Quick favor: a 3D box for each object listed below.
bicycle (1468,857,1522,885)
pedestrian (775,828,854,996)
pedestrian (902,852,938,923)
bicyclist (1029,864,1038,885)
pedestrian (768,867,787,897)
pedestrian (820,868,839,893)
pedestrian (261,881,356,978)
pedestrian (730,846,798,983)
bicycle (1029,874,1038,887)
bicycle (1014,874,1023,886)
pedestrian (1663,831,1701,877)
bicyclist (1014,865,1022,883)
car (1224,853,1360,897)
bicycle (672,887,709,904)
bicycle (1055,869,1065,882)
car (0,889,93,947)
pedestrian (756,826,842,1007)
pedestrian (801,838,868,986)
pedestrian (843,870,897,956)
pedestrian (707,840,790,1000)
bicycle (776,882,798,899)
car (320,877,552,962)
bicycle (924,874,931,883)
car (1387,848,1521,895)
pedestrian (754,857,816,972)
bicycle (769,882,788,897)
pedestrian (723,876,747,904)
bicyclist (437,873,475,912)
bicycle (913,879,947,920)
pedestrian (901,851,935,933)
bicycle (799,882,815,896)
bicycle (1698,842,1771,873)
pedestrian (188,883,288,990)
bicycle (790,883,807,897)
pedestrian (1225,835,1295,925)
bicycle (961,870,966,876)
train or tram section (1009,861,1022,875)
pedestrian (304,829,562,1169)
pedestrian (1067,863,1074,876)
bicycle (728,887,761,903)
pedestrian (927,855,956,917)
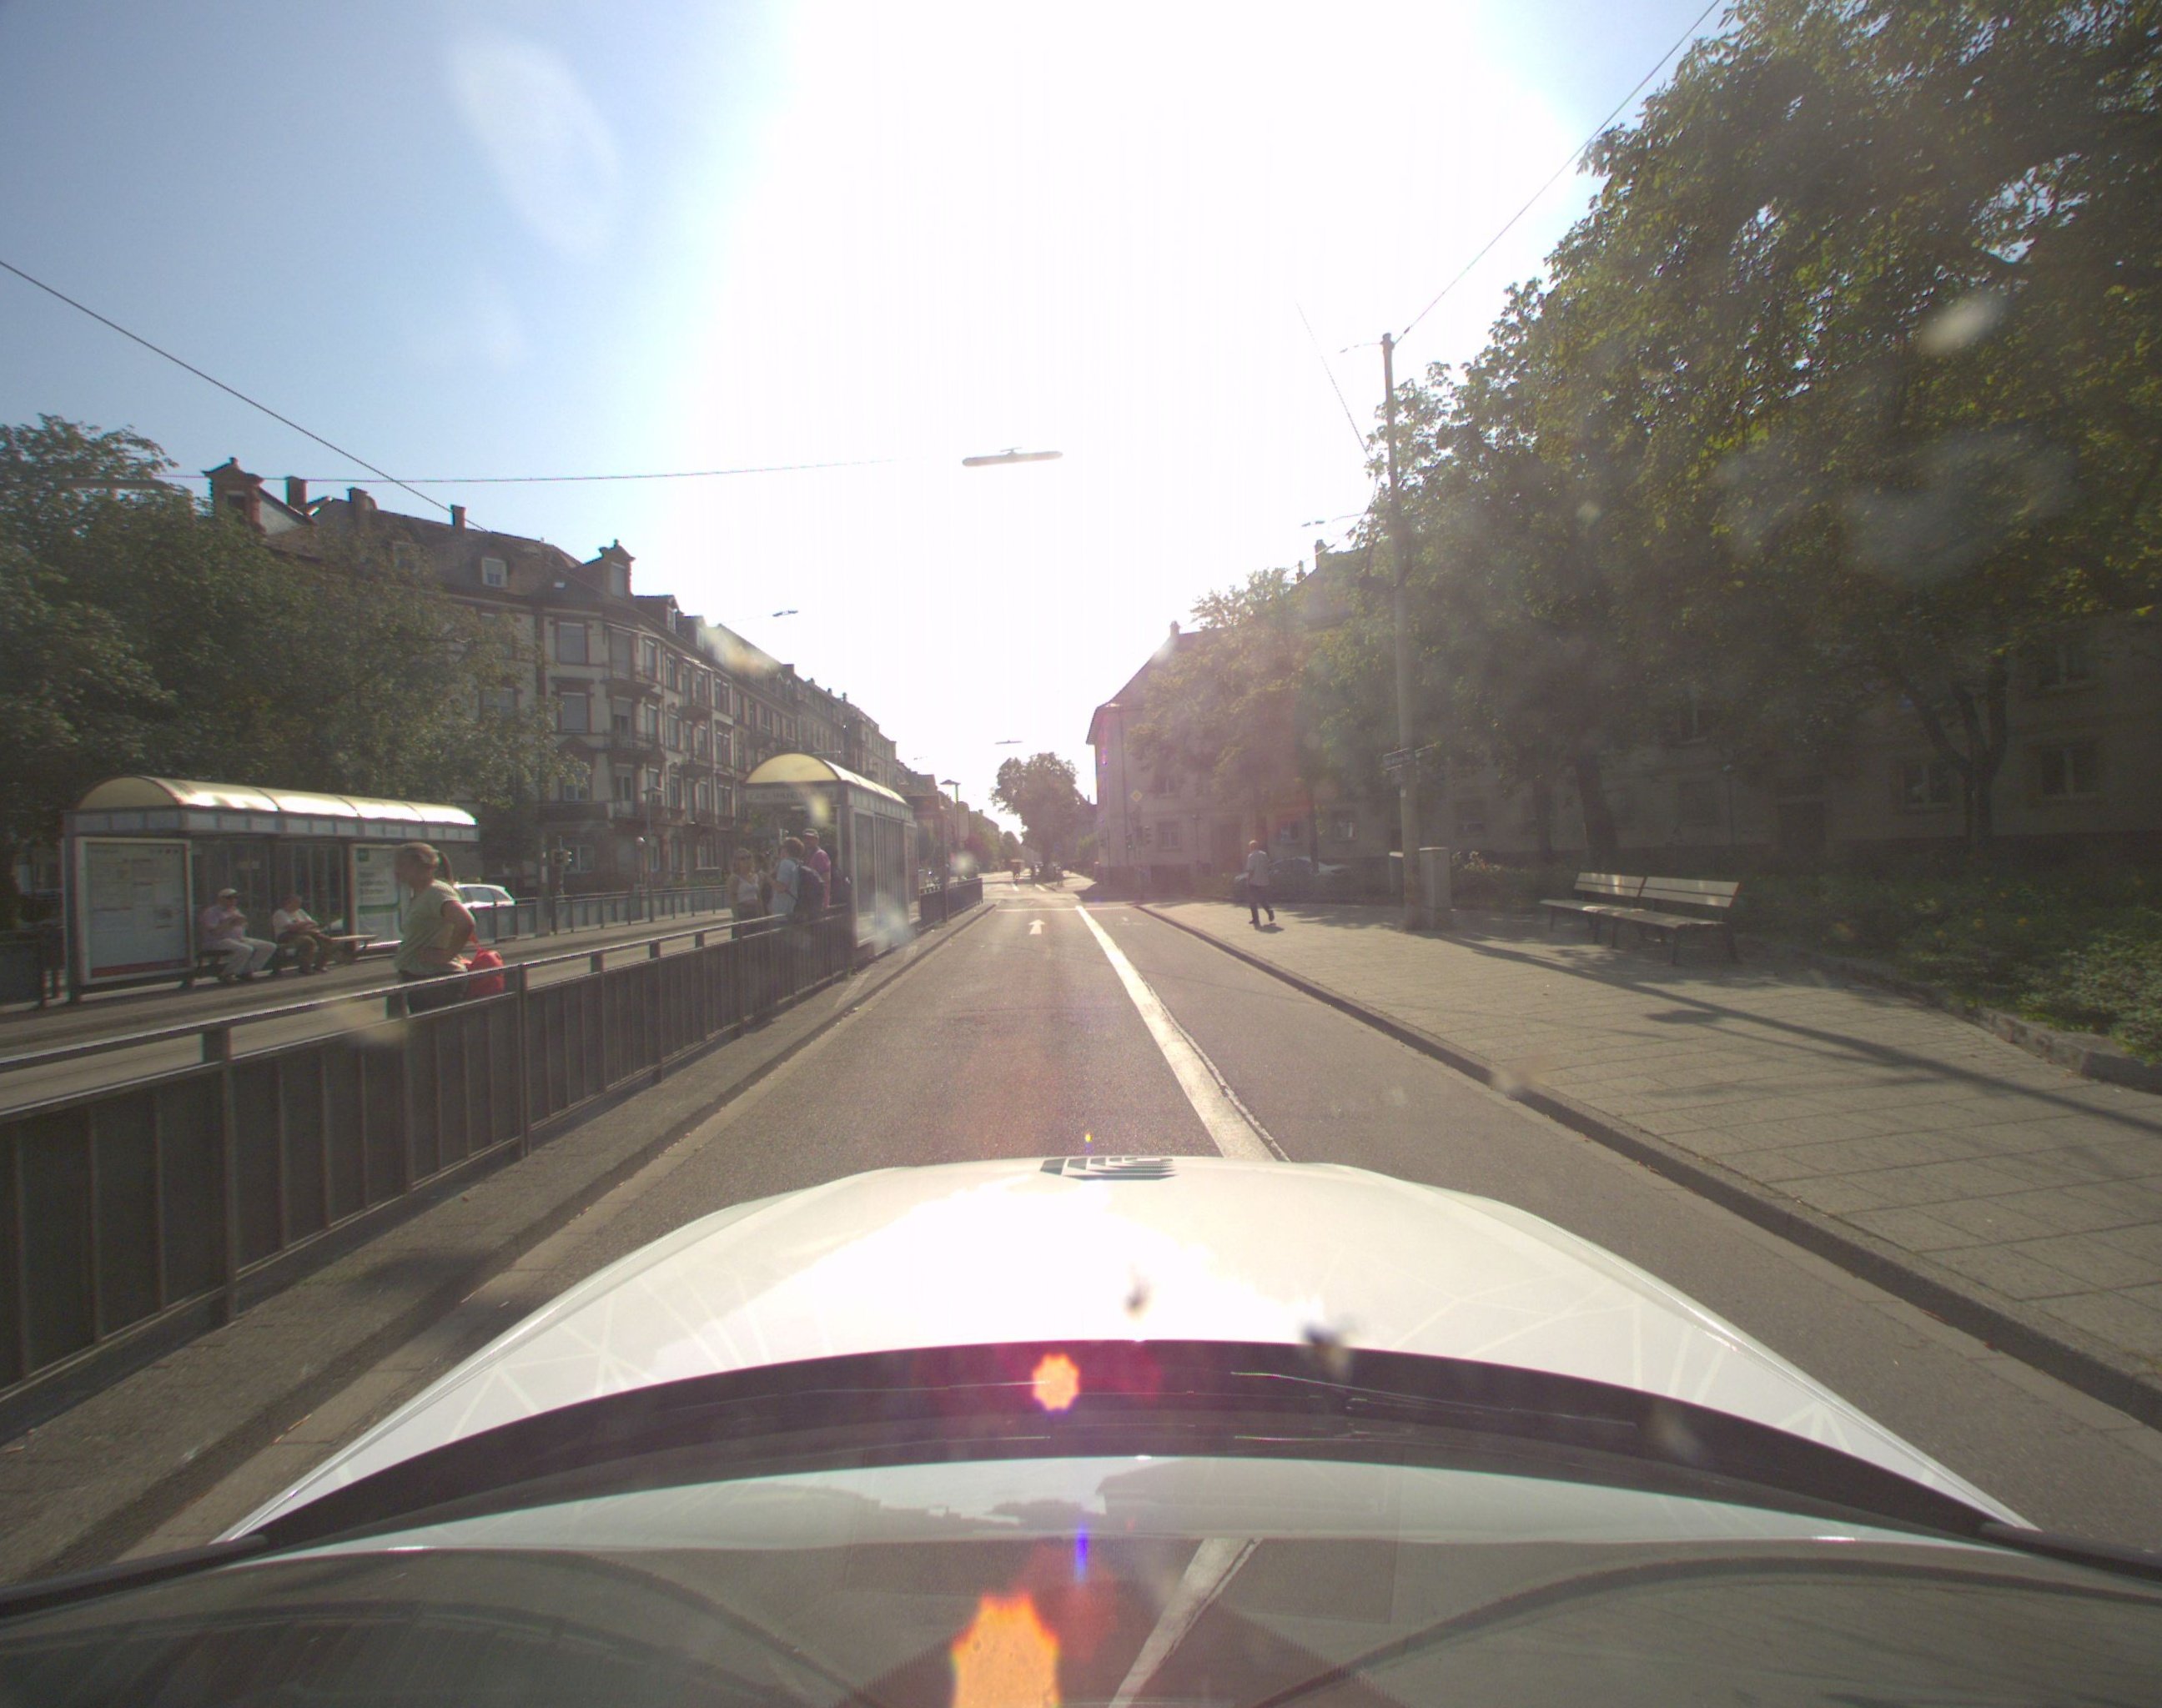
[{"bbox_3d":[16.415,0.666,32.323,0.611,1.058,1.820,-2,1,-34],"label":"bicycle"},{"bbox_3d":[-3.072,0.651,9.435,0.635,1.848,0.633,-2,-1,0],"label":"pedestrian"},{"bbox_3d":[-4.166,0.860,21.109,0.766,1.760,0.679,-2,-1,-4],"label":"pedestrian"},{"bbox_3d":[-3.439,1.491,59.137,0.653,1.474,0.907,0,-2,-3],"label":"bicyclist"},{"bbox_3d":[-18.630,1.717,50.001,0.726,1.806,1.091,-2,-1,-4],"label":"pedestrian"},{"bbox_3d":[-18.335,1.900,59.387,0.901,1.766,1.186,-2,-1,1],"label":"pedestrian"},{"bbox_3d":[-12.273,1.177,12.960,0.790,1.456,0.718,-2,-1,-2],"label":"pedestrian"},{"bbox_3d":[-4.157,0.779,10.704,0.587,1.721,0.607,-2,-1,0],"label":"pedestrian"},{"bbox_3d":[-3.443,1.924,59.141,0.653,0.909,1.773,0,-1,-3],"label":"bicycle"},{"bbox_3d":[-4.744,1.974,61.452,0.625,0.909,1.523,0,-1,-3],"label":"bicycle"},{"bbox_3d":[22.340,0.019,30.292,0.690,1.671,0.858,-2,-1,-30],"label":"pedestrian"},{"bbox_3d":[-4.747,1.515,61.474,0.625,1.401,0.928,0,-2,-3],"label":"bicyclist"},{"bbox_3d":[8.429,0.856,32.763,4.890,1.469,1.889,-3,1,38],"label":"car"},{"bbox_3d":[-22.226,2.369,46.370,0.521,0.860,1.840,-3,-1,36],"label":"bicycle"},{"bbox_3d":[-1.852,1.905,71.518,0.770,1.104,2.329,-2,-1,-5],"label":"bicycle"},{"bbox_3d":[-40.791,2.453,31.346,4.538,2.017,2.091,-3,-1,20],"label":"car"},{"bbox_3d":[-3.017,0.650,8.754,0.635,1.848,0.633,-2,-1,0],"label":"pedestrian"},{"bbox_3d":[-3.059,0.701,10.140,0.587,1.764,0.607,-2,-1,0],"label":"pedestrian"},{"bbox_3d":[-3.518,0.968,13.621,0.706,1.378,0.622,-2,-1,-3],"label":"pedestrian"},{"bbox_3d":[-3.807,0.739,9.367,0.635,1.748,0.633,-2,-1,0],"label":"pedestrian"},{"bbox_3d":[-18.241,2.257,50.594,0.617,1.007,2.148,-2,-1,-2],"label":"bicycle"},{"bbox_3d":[-15.207,1.466,19.599,1.987,1.651,4.480,-2,-1,-1],"label":"car"},{"bbox_3d":[-19.806,3.176,105.261,0.543,1.058,1.839,2,-1,-1],"label":"bicycle"},{"bbox_3d":[12.938,0.620,28.441,1.760,1.451,3.846,-4,0,-37],"label":"car"},{"bbox_3d":[-4.128,0.822,11.371,0.587,1.544,0.607,-2,-1,0],"label":"pedestrian"},{"bbox_3d":[-19.688,2.315,53.017,0.524,0.860,1.828,-2,-1,1],"label":"bicycle"},{"bbox_3d":[-20.252,2.096,47.659,0.831,1.571,0.951,-3,-1,31],"label":"pedestrian"},{"bbox_3d":[-24.708,1.512,32.227,1.083,1.441,0.651,-2,-1,-30],"label":"bicyclist"},{"bbox_3d":[-4.487,1.338,24.284,0.470,1.104,1.740,-3,-1,6],"label":"bicycle"},{"bbox_3d":[-3.689,0.846,18.431,0.602,1.806,0.729,-2,-1,-4],"label":"pedestrian"},{"bbox_3d":[-19.403,2.481,57.635,0.524,0.927,1.702,-2,-1,1],"label":"bicycle"},{"bbox_3d":[22.121,0.138,27.611,0.535,1.007,1.895,-2,-1,-23],"label":"bicycle"},{"bbox_3d":[-12.269,1.179,11.879,0.675,1.456,0.718,-2,-1,-2],"label":"pedestrian"},{"bbox_3d":[-19.370,2.479,55.942,0.524,0.860,1.702,-2,-1,1],"label":"bicycle"},{"bbox_3d":[3.696,0.535,16.942,1.074,1.724,0.969,-5,-1,-2],"label":"pedestrian"},{"bbox_3d":[-21.245,3.393,147.343,0.507,1.108,2.001,-2,-1,-2],"label":"bicycle"},{"bbox_3d":[-17.537,3.864,217.696,2.728,3.506,15.415,-2,-1,-3],"label":"train or tram section"},{"bbox_3d":[-3.536,0.718,4.549,0.814,1.654,0.862,-2,-1,-16],"label":"pedestrian"},{"bbox_3d":[-1.407,2.144,110.378,0.749,1.749,0.879,-2,-1,4],"label":"pedestrian"},{"bbox_3d":[-20.329,2.458,49.271,0.521,0.860,1.840,-3,-1,36],"label":"bicycle"},{"bbox_3d":[-4.130,0.943,24.129,0.688,1.766,0.795,-2,-1,-4],"label":"pedestrian"}]
